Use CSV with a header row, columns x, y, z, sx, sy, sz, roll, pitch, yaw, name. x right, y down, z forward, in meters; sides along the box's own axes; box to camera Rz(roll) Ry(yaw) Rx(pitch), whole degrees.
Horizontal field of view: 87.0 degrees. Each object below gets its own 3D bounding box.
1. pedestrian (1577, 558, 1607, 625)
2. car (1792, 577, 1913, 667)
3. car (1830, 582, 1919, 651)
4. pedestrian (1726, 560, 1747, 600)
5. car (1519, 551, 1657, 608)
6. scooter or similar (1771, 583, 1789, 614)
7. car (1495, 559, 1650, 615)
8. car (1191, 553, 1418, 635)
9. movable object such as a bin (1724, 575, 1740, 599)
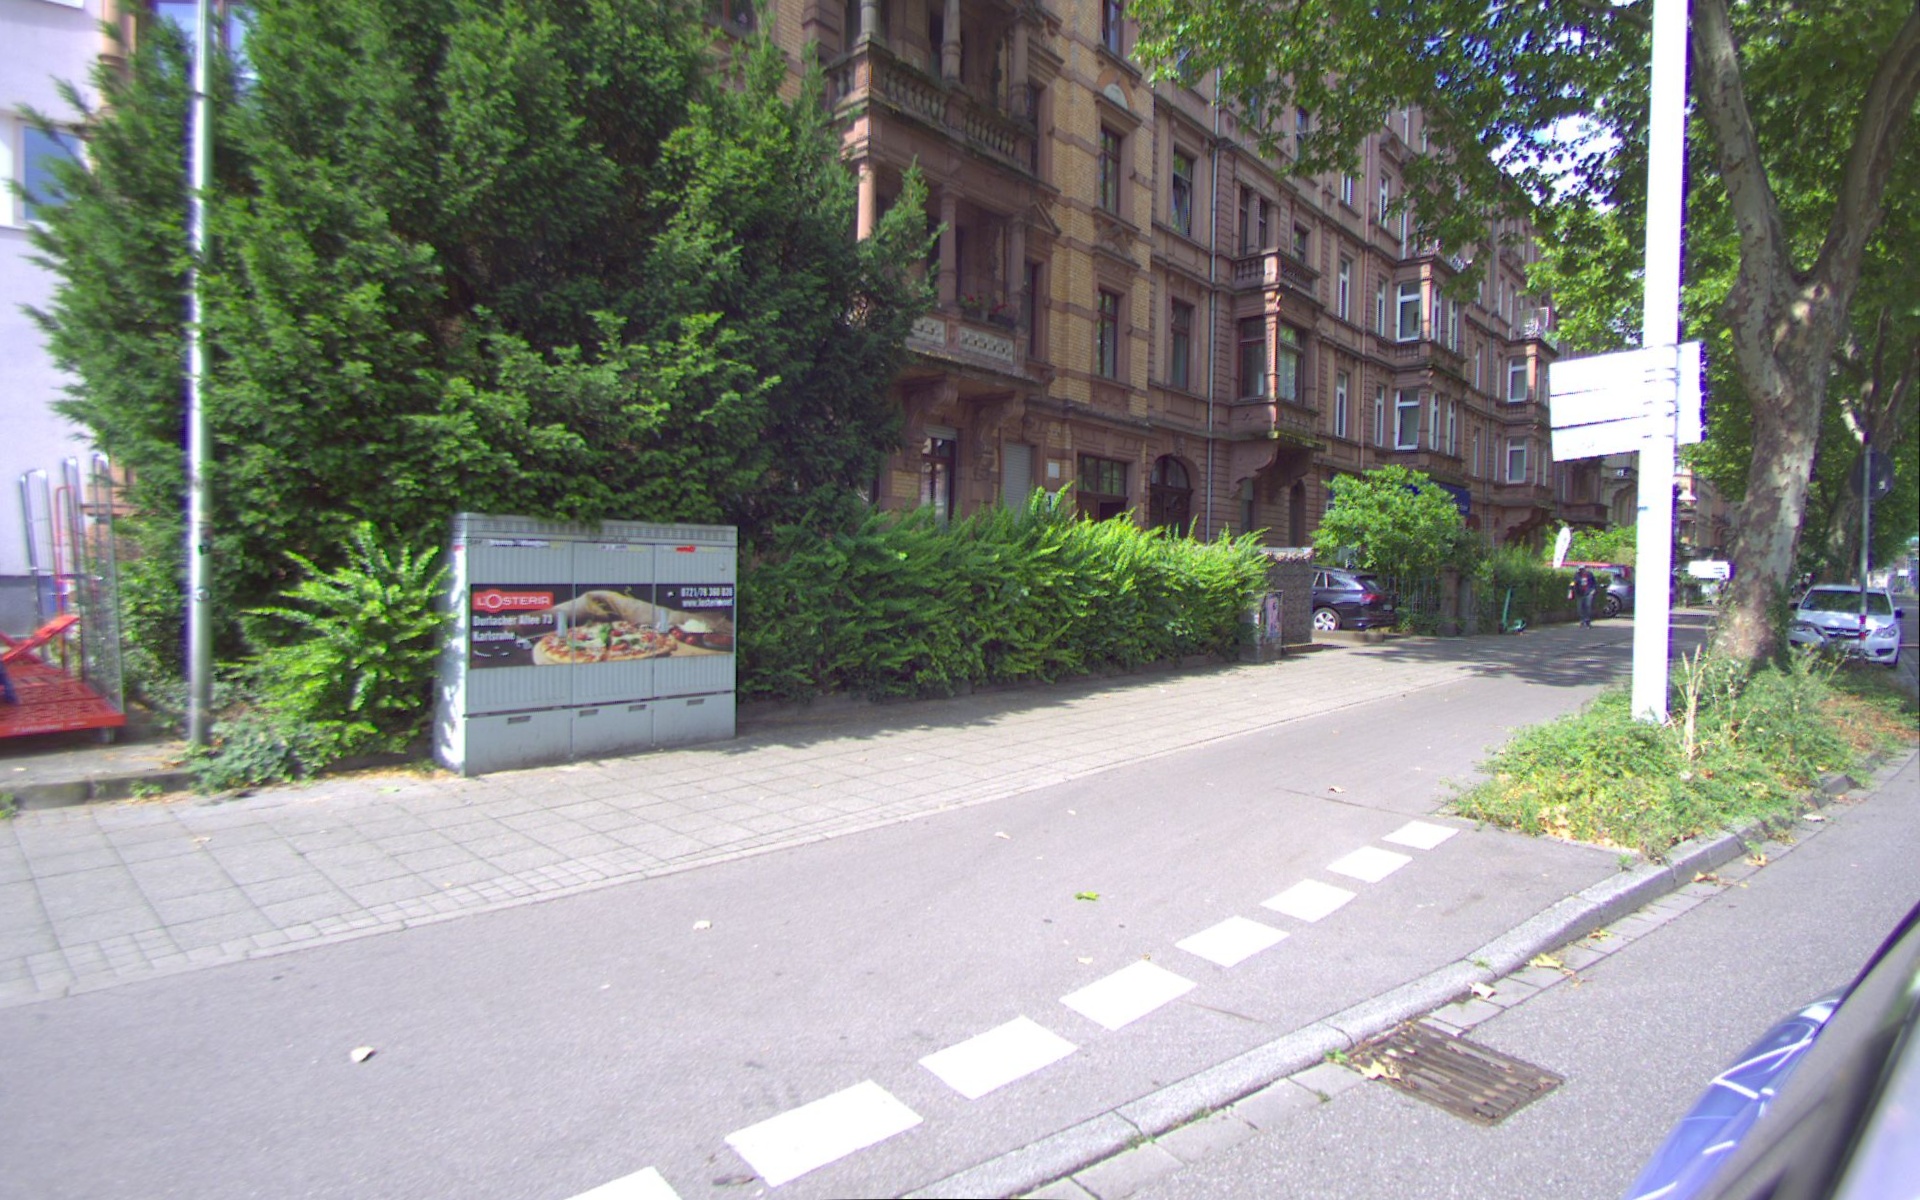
x,y,z,sx,sy,sz,roll,pitch,yaw,name
17.382,-0.250,27.842,0.564,1.808,0.620,2,2,42,pedestrian
16.921,0.337,19.204,1.553,1.503,3.800,2,2,42,car
21.637,0.327,23.805,1.677,1.462,3.800,2,2,42,car
40.912,-1.068,53.326,0.763,2.037,1.105,5,4,38,pedestrian
25.740,-0.875,41.577,4.399,1.962,1.953,7,5,43,car
33.163,-0.070,40.935,0.466,1.225,1.303,2,2,42,scooter or similar
22.436,-0.533,37.134,4.707,1.804,1.980,4,3,35,car
7.398,-0.198,21.999,4.235,1.487,1.912,5,4,43,car
41.405,-0.692,54.275,0.606,1.224,1.044,5,4,37,movable object such as a bin
